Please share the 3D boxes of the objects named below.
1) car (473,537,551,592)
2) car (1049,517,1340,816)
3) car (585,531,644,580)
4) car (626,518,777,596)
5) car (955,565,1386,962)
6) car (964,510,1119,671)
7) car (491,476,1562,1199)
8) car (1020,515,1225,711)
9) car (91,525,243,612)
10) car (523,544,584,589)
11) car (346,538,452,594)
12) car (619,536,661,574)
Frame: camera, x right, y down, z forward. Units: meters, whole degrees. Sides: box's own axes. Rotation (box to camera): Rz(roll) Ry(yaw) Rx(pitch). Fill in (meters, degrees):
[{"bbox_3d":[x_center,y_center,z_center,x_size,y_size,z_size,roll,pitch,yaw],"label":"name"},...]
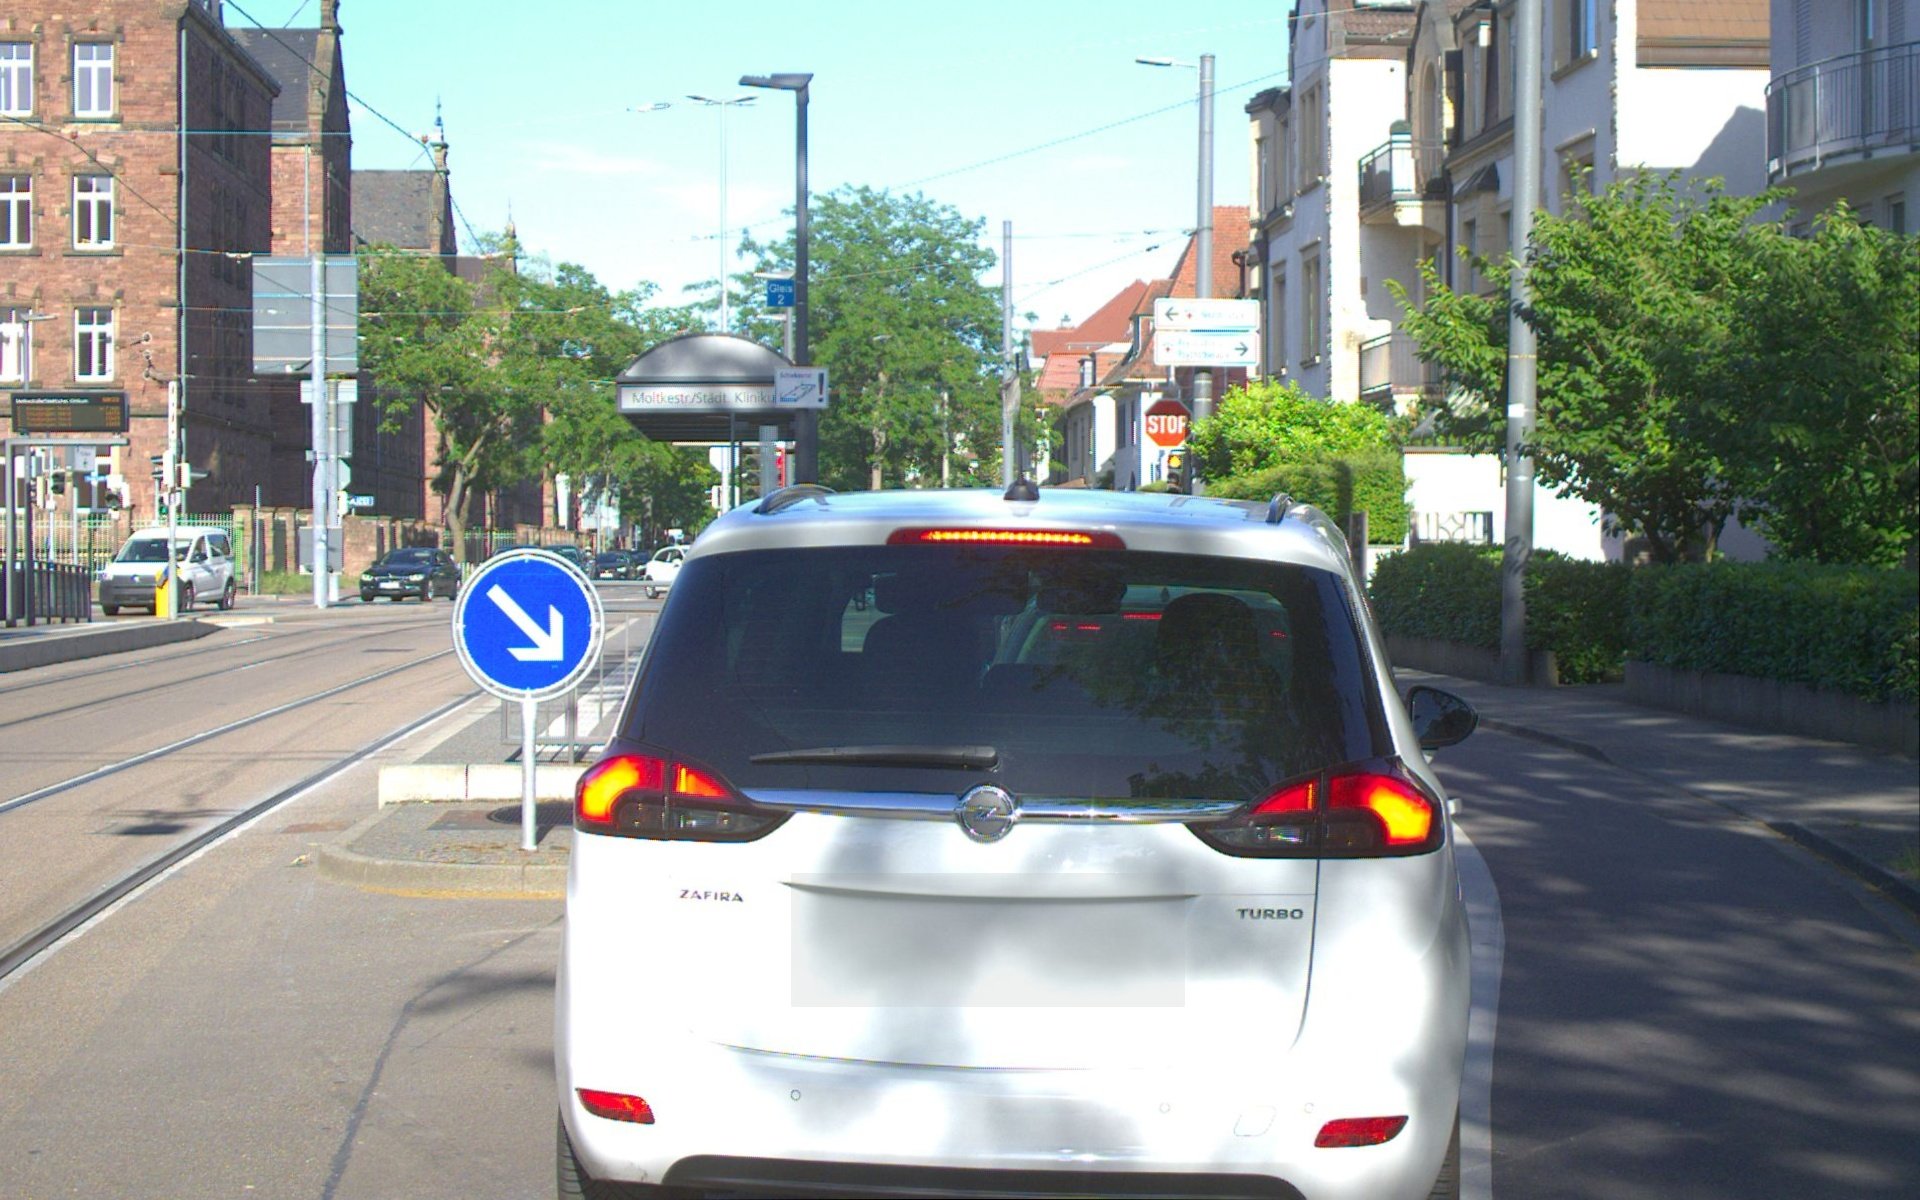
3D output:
[{"bbox_3d":[-13.491,-1.042,103.757,1.827,1.611,4.327,1,0,-1],"label":"car"},{"bbox_3d":[1.468,0.333,21.026,1.569,1.609,3.783,2,1,5],"label":"car"},{"bbox_3d":[-14.362,-1.863,142.967,1.993,2.007,4.000,0,1,1],"label":"car"},{"bbox_3d":[-6.821,-1.139,90.339,1.994,2.007,3.999,-1,1,-40],"label":"car"},{"bbox_3d":[0.949,0.592,14.777,1.569,1.396,3.783,2,1,5],"label":"car"},{"bbox_3d":[0.903,-0.157,39.948,1.596,1.629,3.902,2,3,-1],"label":"car"},{"bbox_3d":[0.093,0.563,8.083,1.878,1.580,4.000,1,1,-1],"label":"car"},{"bbox_3d":[1.437,0.079,31.590,1.596,1.629,3.901,2,1,-1],"label":"car"},{"bbox_3d":[-16.622,-0.683,72.247,1.827,1.782,4.254,0,1,6],"label":"car"},{"bbox_3d":[-13.601,-1.112,115.217,1.826,1.441,4.328,0,0,-4],"label":"car"},{"bbox_3d":[-14.538,-0.897,89.305,1.798,1.377,4.495,0,1,3],"label":"car"},{"bbox_3d":[-14.285,-2.027,153.674,1.662,1.645,4.000,0,1,-2],"label":"car"}]
